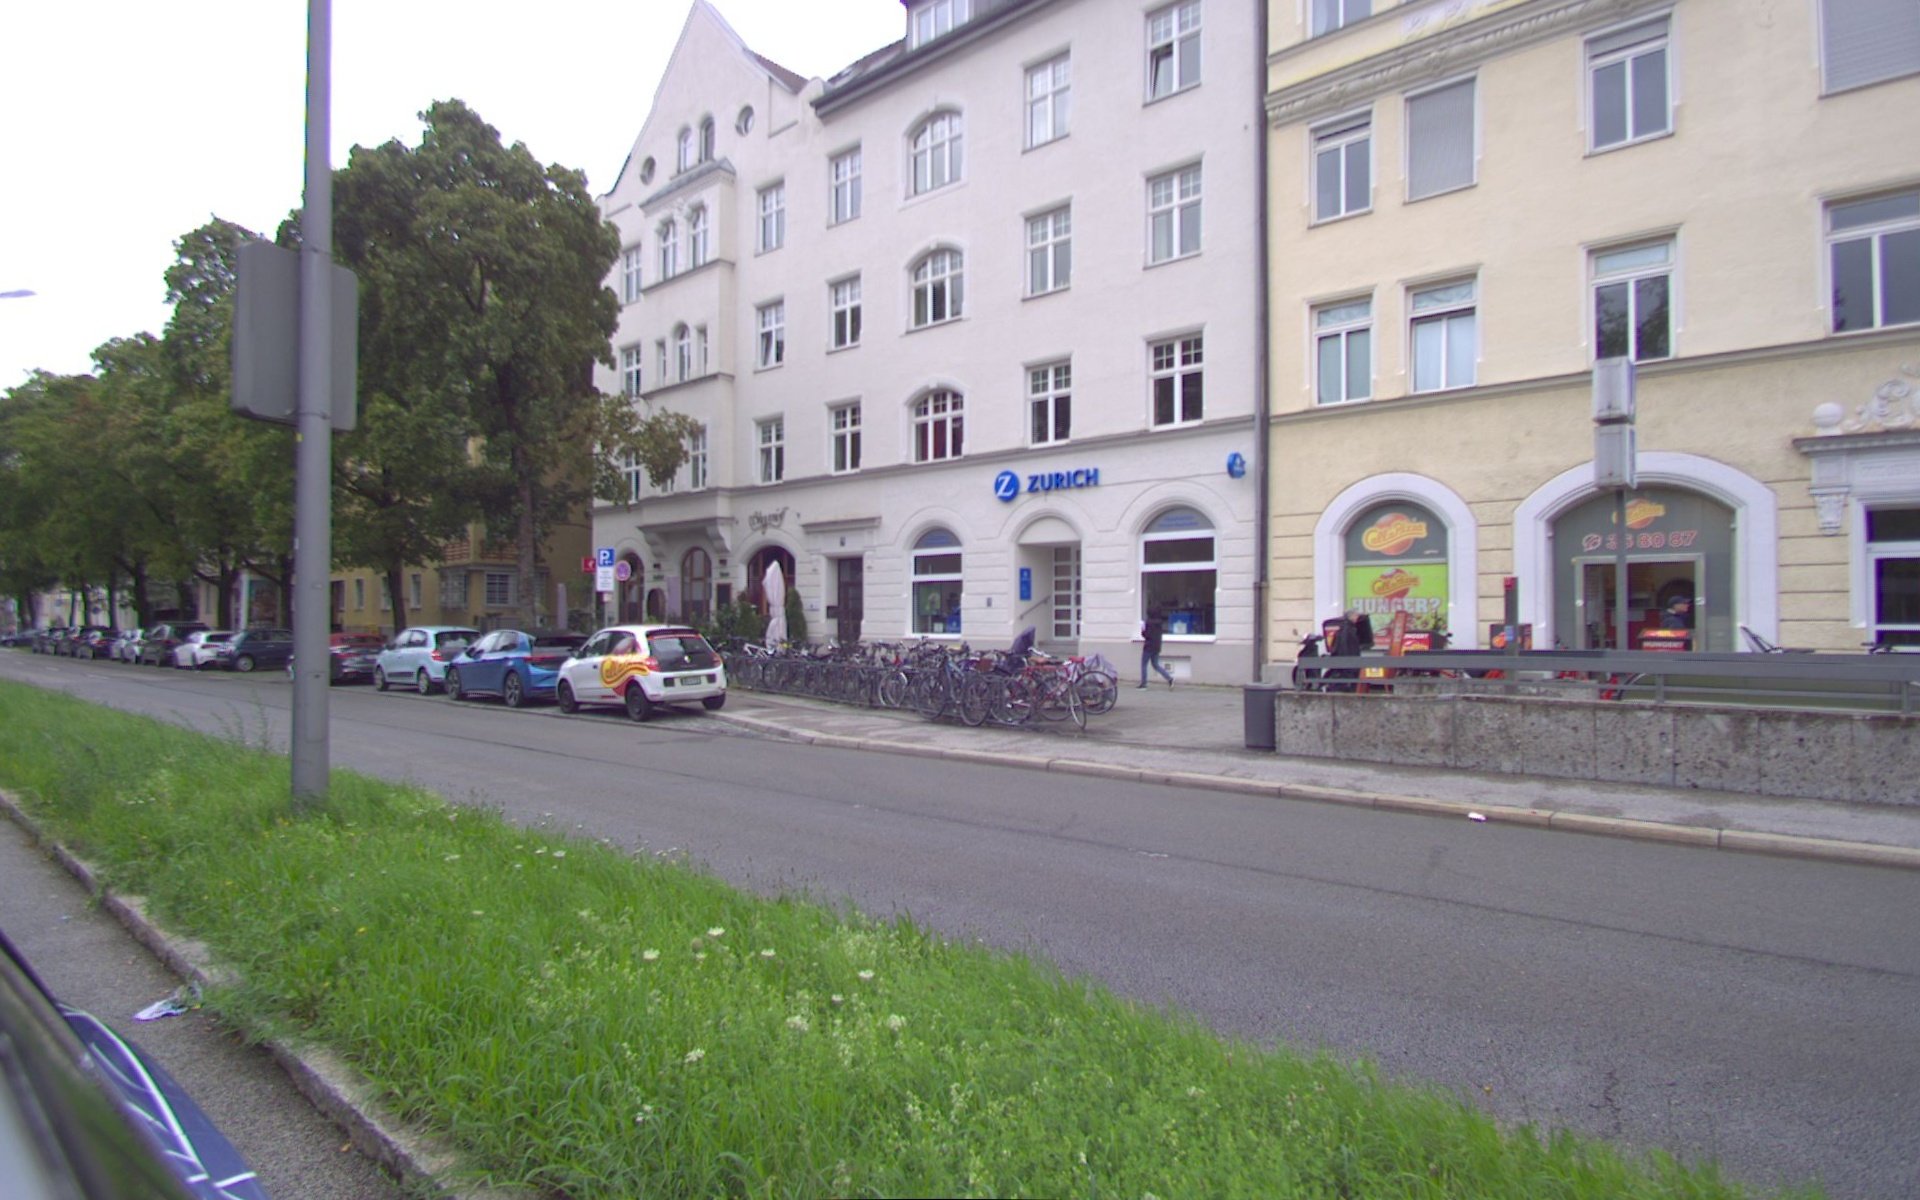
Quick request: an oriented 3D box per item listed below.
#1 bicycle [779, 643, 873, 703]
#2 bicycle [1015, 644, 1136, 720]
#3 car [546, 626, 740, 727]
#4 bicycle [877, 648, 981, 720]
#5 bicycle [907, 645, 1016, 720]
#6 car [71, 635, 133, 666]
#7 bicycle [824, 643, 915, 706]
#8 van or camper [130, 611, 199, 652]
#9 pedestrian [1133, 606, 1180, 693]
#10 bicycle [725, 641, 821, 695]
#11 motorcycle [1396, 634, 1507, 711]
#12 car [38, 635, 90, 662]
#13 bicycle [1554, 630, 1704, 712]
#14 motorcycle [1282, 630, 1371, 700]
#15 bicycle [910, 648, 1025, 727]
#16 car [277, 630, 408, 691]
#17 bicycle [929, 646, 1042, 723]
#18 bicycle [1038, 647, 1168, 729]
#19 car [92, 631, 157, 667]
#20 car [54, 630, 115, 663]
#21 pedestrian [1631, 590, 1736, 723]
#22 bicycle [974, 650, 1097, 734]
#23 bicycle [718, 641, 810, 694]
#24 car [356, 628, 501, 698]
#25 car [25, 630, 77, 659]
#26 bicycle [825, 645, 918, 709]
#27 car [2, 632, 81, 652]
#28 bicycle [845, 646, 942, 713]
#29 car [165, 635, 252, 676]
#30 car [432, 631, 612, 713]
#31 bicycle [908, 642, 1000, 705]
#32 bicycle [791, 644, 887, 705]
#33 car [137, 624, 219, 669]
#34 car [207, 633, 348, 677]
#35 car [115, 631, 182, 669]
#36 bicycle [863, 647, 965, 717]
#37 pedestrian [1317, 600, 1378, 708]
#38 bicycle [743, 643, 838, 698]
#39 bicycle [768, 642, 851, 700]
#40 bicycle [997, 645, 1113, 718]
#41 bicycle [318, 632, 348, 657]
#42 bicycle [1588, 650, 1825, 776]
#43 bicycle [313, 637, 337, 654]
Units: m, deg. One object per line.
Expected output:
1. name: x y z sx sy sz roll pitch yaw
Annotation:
1. bicycle: -2.629 1.414 19.748 1.859 1.124 0.328 -1 -2 18
2. bicycle: 1.767 1.241 15.554 1.799 1.124 0.394 -1 -2 18
3. car: -5.693 1.270 17.971 3.790 1.597 1.631 -2 -2 43
4. bicycle: -0.503 1.350 16.397 1.667 1.124 0.328 -1 -2 18
5. bicycle: 0.020 1.270 15.765 1.667 1.124 0.365 -1 -2 18
6. car: -42.386 2.476 49.971 4.361 1.416 1.708 -2 -2 41
7. bicycle: -1.669 1.360 18.584 1.667 1.124 0.328 -1 -2 18
8. van or camper: -53.147 2.138 67.528 6.847 2.599 2.321 -2 -4 41
9. pedestrian: 3.799 0.948 19.608 0.416 1.644 0.784 1 -2 -43
10. bicycle: -3.981 1.450 21.582 1.966 1.124 0.503 -1 -2 10
11. motorcycle: 8.045 1.156 16.672 0.600 1.130 1.991 0 -1 -9
12. car: -51.174 2.733 57.760 4.490 1.465 1.674 -2 -2 41
13. bicycle: 8.566 0.884 13.003 1.544 0.988 0.468 -2 -2 41
14. motorcycle: 6.558 1.136 18.205 0.600 1.139 1.991 0 -1 -9
15. bicycle: 0.108 1.277 14.913 1.667 1.124 0.366 -1 -2 18
16. car: -17.147 1.616 28.020 4.643 1.518 1.792 -2 -2 41
17. bicycle: 0.378 1.257 15.238 1.667 1.124 0.328 -1 -2 18
18. bicycle: 2.048 1.240 14.511 1.799 1.124 0.394 -1 -2 18
19. car: -38.920 2.262 47.120 4.055 1.573 1.708 -2 -2 41
20. car: -46.779 2.450 54.045 4.768 1.658 1.859 -2 -2 41
21. pedestrian: 9.582 0.741 13.436 0.936 1.710 0.590 -1 -2 14
22. bicycle: 1.047 1.259 14.093 1.667 1.124 0.328 -1 -2 18
23. bicycle: -4.279 1.474 22.067 1.944 1.124 0.457 -1 -2 10
24. car: -12.824 1.446 24.329 3.958 1.518 1.792 -2 -2 41
25. car: -55.025 2.649 61.240 4.436 1.700 1.854 -2 -2 41
26. bicycle: -1.590 1.367 18.119 1.667 1.124 0.328 -1 -2 18
27. car: -68.013 3.087 74.990 3.931 1.386 1.868 -1 -2 -20
28. bicycle: -1.151 1.357 17.484 1.667 1.124 0.328 -1 -2 18
29. car: -27.883 2.022 37.518 4.402 1.413 1.708 -2 -2 41
30. car: -9.191 1.413 21.104 4.289 1.518 1.792 -2 -2 41
31. bicycle: -0.112 1.331 18.575 1.667 1.124 0.328 -1 -2 18
32. bicycle: -2.310 1.410 19.229 1.859 1.124 0.328 -1 -2 18
33. car: -32.013 1.880 41.374 4.765 1.741 1.791 -2 -2 41
34. car: -24.392 1.924 36.261 1.731 1.475 3.850 -2 -2 39
35. car: -35.465 2.157 44.212 3.007 1.569 1.709 -2 -2 39
36. bicycle: -0.776 1.356 16.873 1.667 1.124 0.380 -1 -2 18
37. pedestrian: 6.292 0.862 16.432 0.769 1.710 0.537 -2 -2 39
38. bicycle: -3.508 1.454 20.987 1.860 1.124 0.548 -1 -2 10
39. bicycle: -3.031 1.420 20.360 1.664 1.124 0.329 -1 -2 14
40. bicycle: 1.510 1.276 16.108 1.799 1.124 0.394 -1 -2 18
41. bicycle: -32.440 2.282 52.356 1.930 1.231 0.762 -2 -2 41
42. bicycle: 7.193 1.059 9.859 1.808 1.124 0.392 -1 -2 33
43. bicycle: -33.970 2.412 54.103 1.930 0.906 0.536 -2 -2 41
